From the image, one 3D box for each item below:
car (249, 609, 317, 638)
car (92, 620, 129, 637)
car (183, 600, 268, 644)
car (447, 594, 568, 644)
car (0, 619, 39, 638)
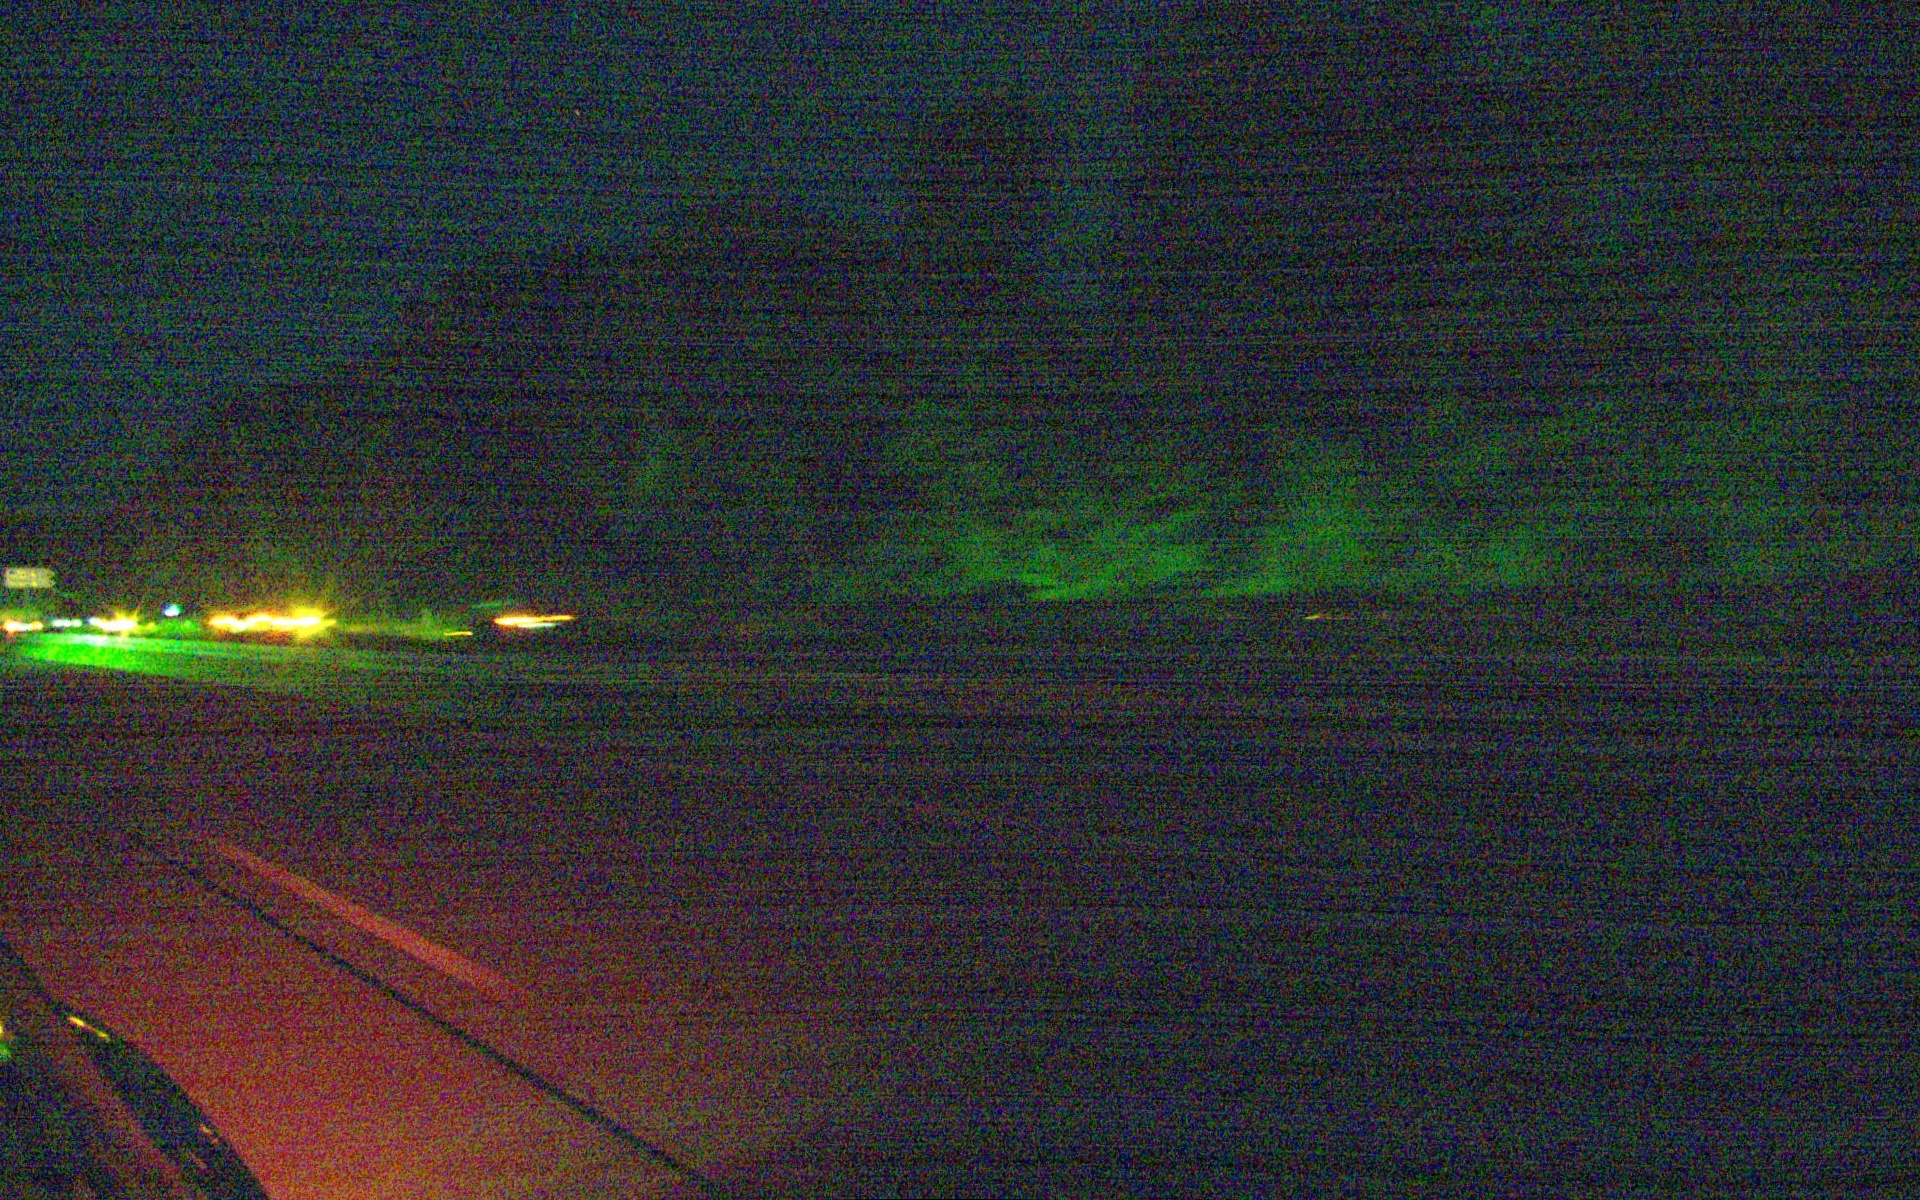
[{"bbox_3d":[-37.522,1.306,56.023,4.840,1.422,1.754,-1,3,39],"label":"car"},{"bbox_3d":[-75.393,2.524,89.795,4.169,1.468,1.937,-2,0,42],"label":"car"},{"bbox_3d":[-32.057,0.958,44.126,5.078,1.746,1.937,-2,0,42],"label":"car"},{"bbox_3d":[-14.613,0.610,32.569,4.335,1.468,1.937,-2,0,42],"label":"car"},{"bbox_3d":[-76.446,2.290,82.232,4.469,1.468,1.937,-2,0,42],"label":"car"}]
